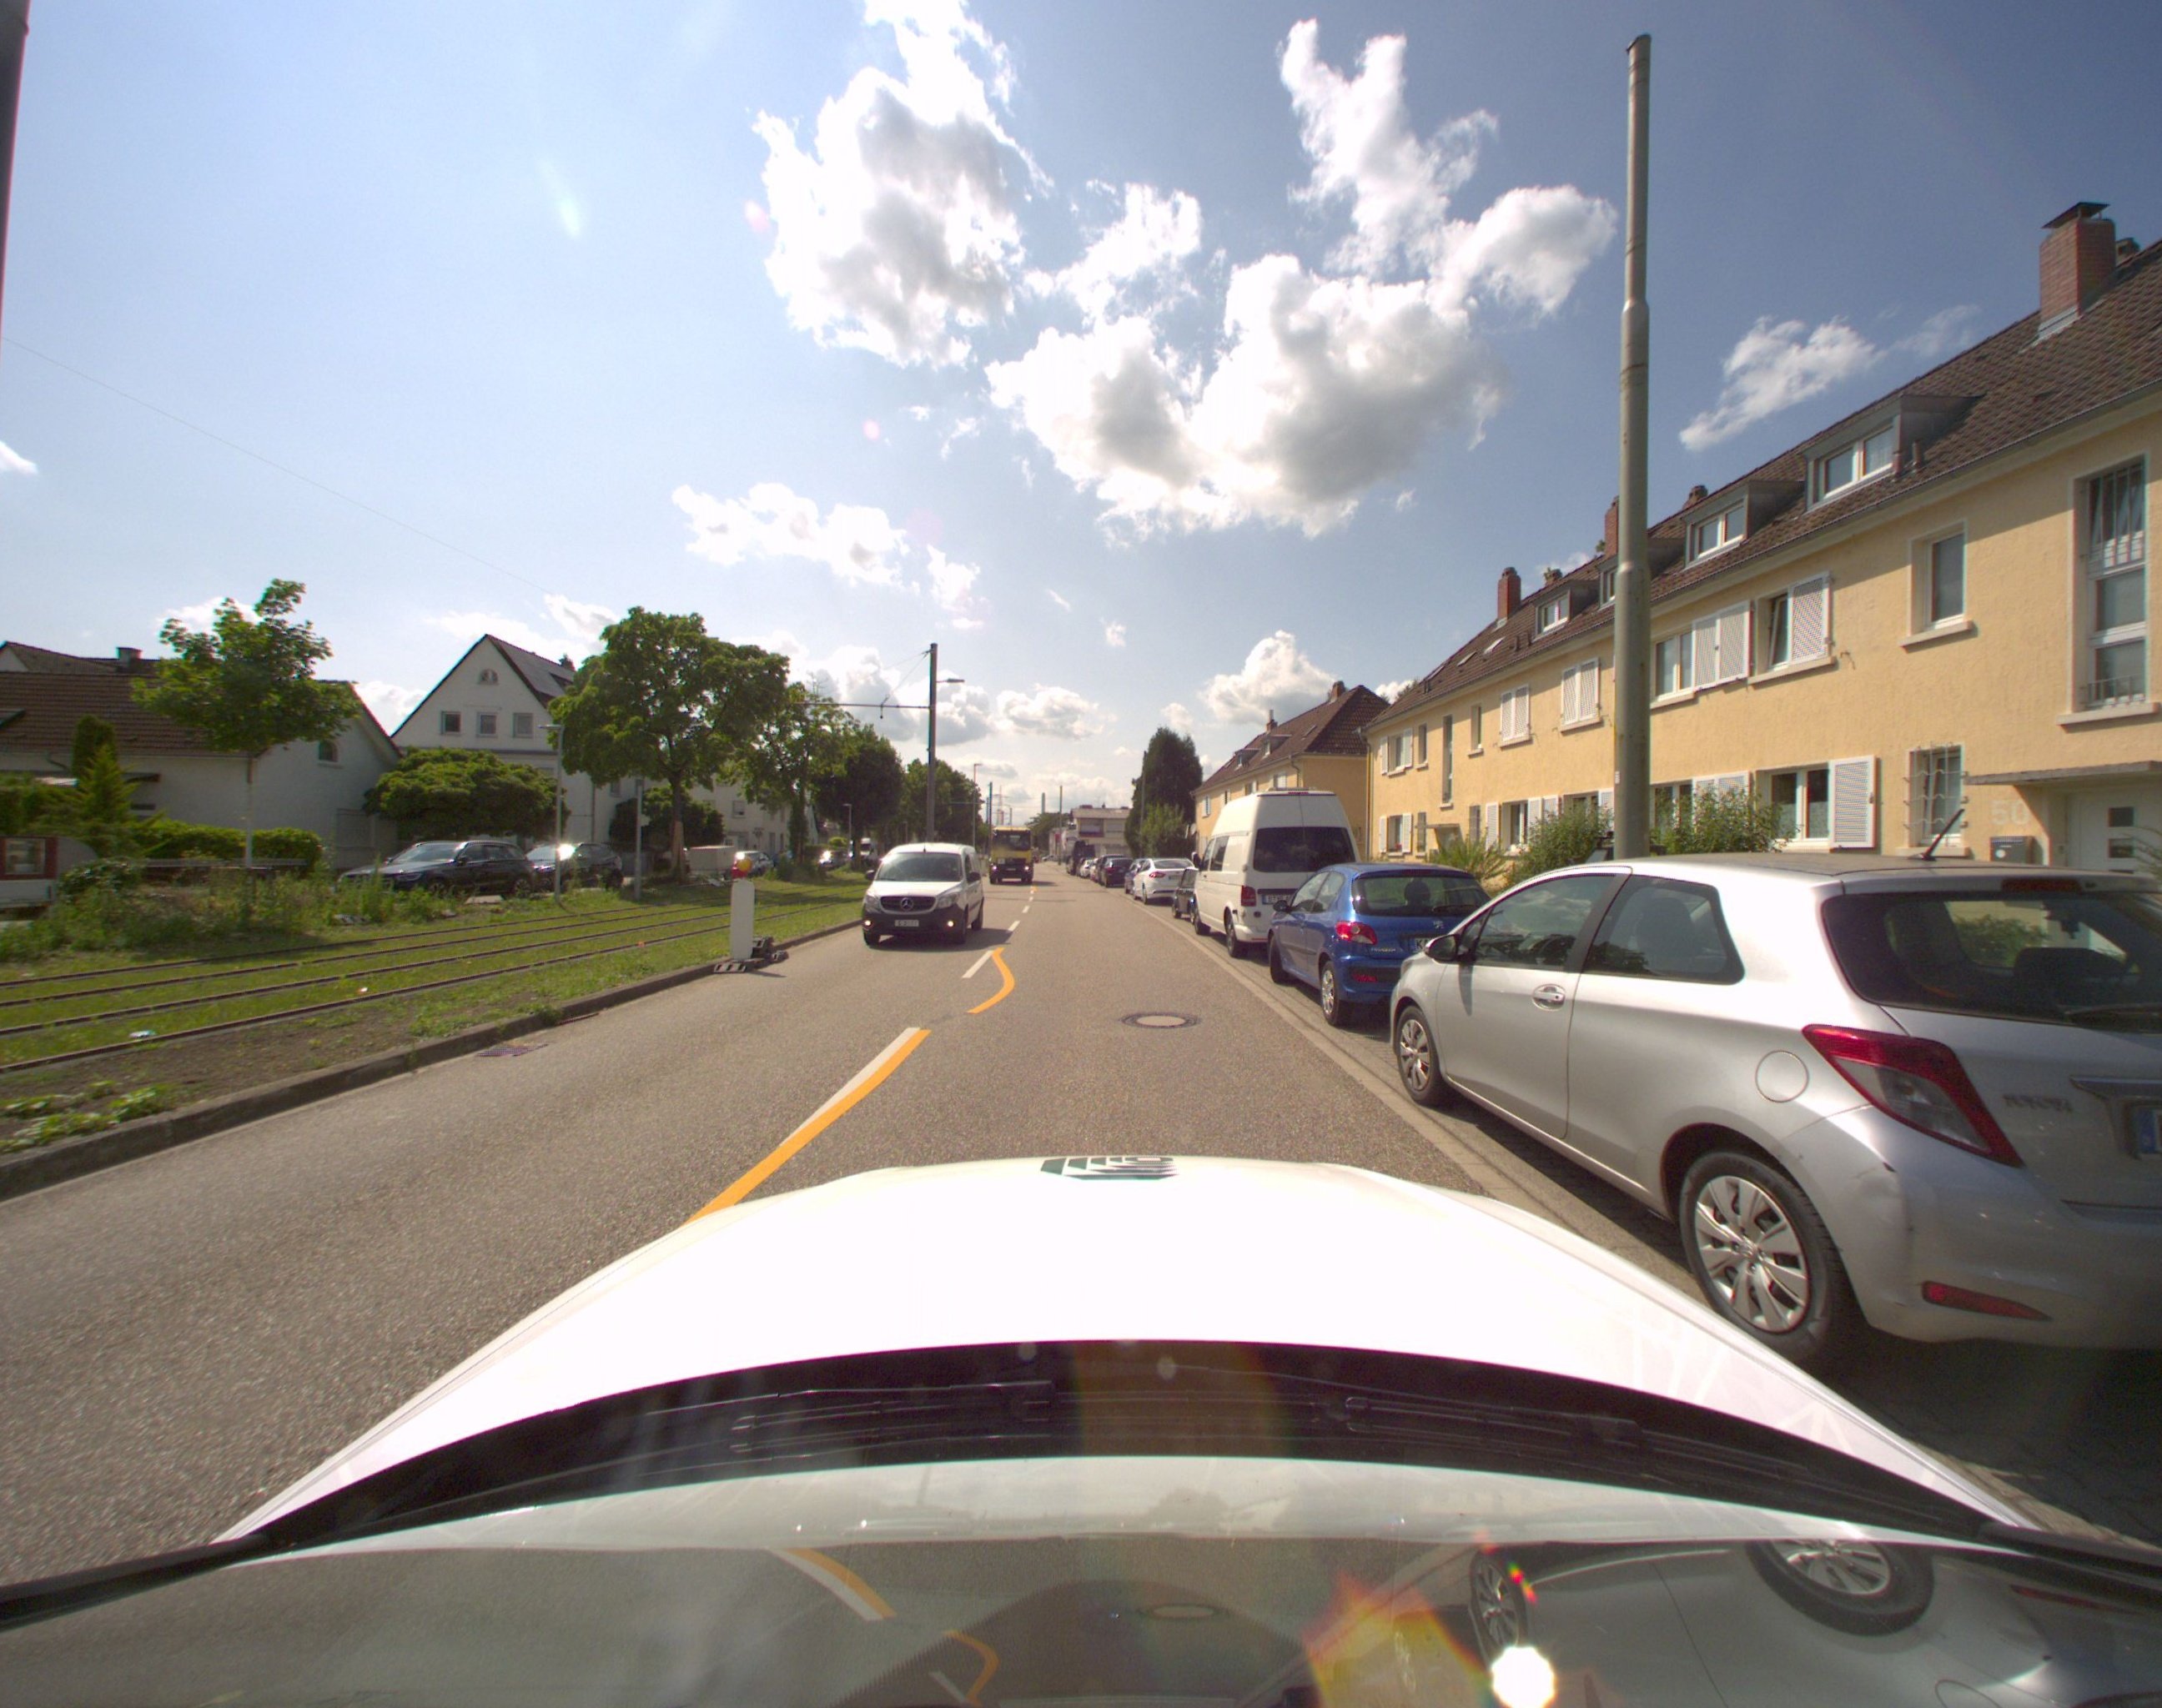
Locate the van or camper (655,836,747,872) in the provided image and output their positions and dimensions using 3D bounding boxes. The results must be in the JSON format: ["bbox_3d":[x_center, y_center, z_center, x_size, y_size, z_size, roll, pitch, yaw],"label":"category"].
[{"bbox_3d":[-33.628,-0.033,72.249,6.869,3.126,2.439,0,0,-5],"label":"van or camper"}]

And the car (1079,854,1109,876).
[{"bbox_3d":[0.893,0.769,57.275,1.760,1.439,3.995,-1,0,-4],"label":"car"}]

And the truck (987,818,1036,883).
[{"bbox_3d":[-4.026,-0.202,47.747,2.555,3.459,7.139,-1,0,-4],"label":"truck"}]

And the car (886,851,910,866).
[{"bbox_3d":[-19.490,0.473,86.934,1.875,1.553,4.371,0,0,-4],"label":"car"}]

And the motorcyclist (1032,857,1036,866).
[{"bbox_3d":[-9.006,1.440,155.970,0.882,1.667,1.107,1,0,-5],"label":"motorcyclist"}]

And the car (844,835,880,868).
[{"bbox_3d":[-18.881,-0.197,70.563,2.072,2.721,6.984,-1,0,-7],"label":"car"}]

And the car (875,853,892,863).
[{"bbox_3d":[-30.134,0.601,124.518,1.875,1.553,4.391,0,0,-4],"label":"car"}]

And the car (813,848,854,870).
[{"bbox_3d":[-18.030,0.320,59.570,1.724,1.505,4.563,-1,0,-3],"label":"car"}]

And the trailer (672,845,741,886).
[{"bbox_3d":[-16.175,0.486,35.336,1.562,1.678,3.368,1,0,-4],"label":"trailer"}]

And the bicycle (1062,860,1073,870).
[{"bbox_3d":[-1.584,1.247,94.189,0.993,1.049,2.806,1,0,-7],"label":"bicycle"}]

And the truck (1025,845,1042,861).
[{"bbox_3d":[-10.514,-0.113,178.375,3.216,3.402,11.331,0,0,-5],"label":"truck"}]

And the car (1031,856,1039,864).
[{"bbox_3d":[-9.140,1.118,161.281,1.566,1.498,4.141,1,0,-5],"label":"car"}]

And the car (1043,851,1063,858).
[{"bbox_3d":[-6.876,0.116,198.828,4.640,1.823,1.830,1,0,-9],"label":"car"}]

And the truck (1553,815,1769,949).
[{"bbox_3d":[8.029,0.358,11.503,1.341,1.688,2.441,0,0,0],"label":"truck"}]

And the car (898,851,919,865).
[{"bbox_3d":[-20.191,0.476,95.485,1.875,1.553,4.391,0,0,-4],"label":"car"}]

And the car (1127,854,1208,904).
[{"bbox_3d":[2.708,0.769,26.668,1.795,1.458,4.758,-1,-1,-4],"label":"car"}]

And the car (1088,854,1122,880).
[{"bbox_3d":[1.461,0.777,51.077,1.760,1.477,3.995,-1,0,-4],"label":"car"}]

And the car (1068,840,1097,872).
[{"bbox_3d":[0.057,0.144,68.509,1.956,2.478,6.050,-1,0,-5],"label":"car"}]

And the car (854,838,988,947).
[{"bbox_3d":[-2.858,0.622,15.453,1.729,1.773,4.306,1,0,-1],"label":"car"}]

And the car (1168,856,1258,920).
[{"bbox_3d":[2.963,0.729,18.802,1.338,1.340,3.283,1,-1,-4],"label":"car"}]

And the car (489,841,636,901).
[{"bbox_3d":[-15.954,0.474,25.383,1.691,1.637,4.565,-1,0,-2],"label":"car"}]

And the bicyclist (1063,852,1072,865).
[{"bbox_3d":[-1.581,0.506,94.205,0.994,1.569,1.137,1,0,-7],"label":"bicyclist"}]

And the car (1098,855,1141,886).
[{"bbox_3d":[1.886,0.806,40.959,1.760,1.417,3.995,-1,0,-4],"label":"car"}]

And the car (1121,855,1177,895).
[{"bbox_3d":[2.635,0.770,32.190,1.617,1.417,3.995,-1,0,-4],"label":"car"}]

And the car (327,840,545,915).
[{"bbox_3d":[-15.490,0.509,19.958,1.807,1.586,4.563,-1,0,-3],"label":"car"}]

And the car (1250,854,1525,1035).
[{"bbox_3d":[2.902,0.742,8.547,1.531,1.445,3.738,1,0,1],"label":"car"}]

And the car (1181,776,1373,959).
[{"bbox_3d":[3.033,0.182,13.916,1.923,2.481,5.516,0,0,0],"label":"car"}]

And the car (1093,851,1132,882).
[{"bbox_3d":[1.751,0.690,46.177,1.760,1.643,3.995,-1,0,-4],"label":"car"}]

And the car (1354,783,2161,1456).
[{"bbox_3d":[2.790,0.634,3.964,1.630,1.602,4.030,1,0,1],"label":"car"}]

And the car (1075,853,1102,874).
[{"bbox_3d":[0.562,0.701,62.438,1.760,1.502,3.995,-1,0,-4],"label":"car"}]

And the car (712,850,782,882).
[{"bbox_3d":[-16.595,0.559,40.718,1.724,1.505,4.563,-1,0,-3],"label":"car"}]
